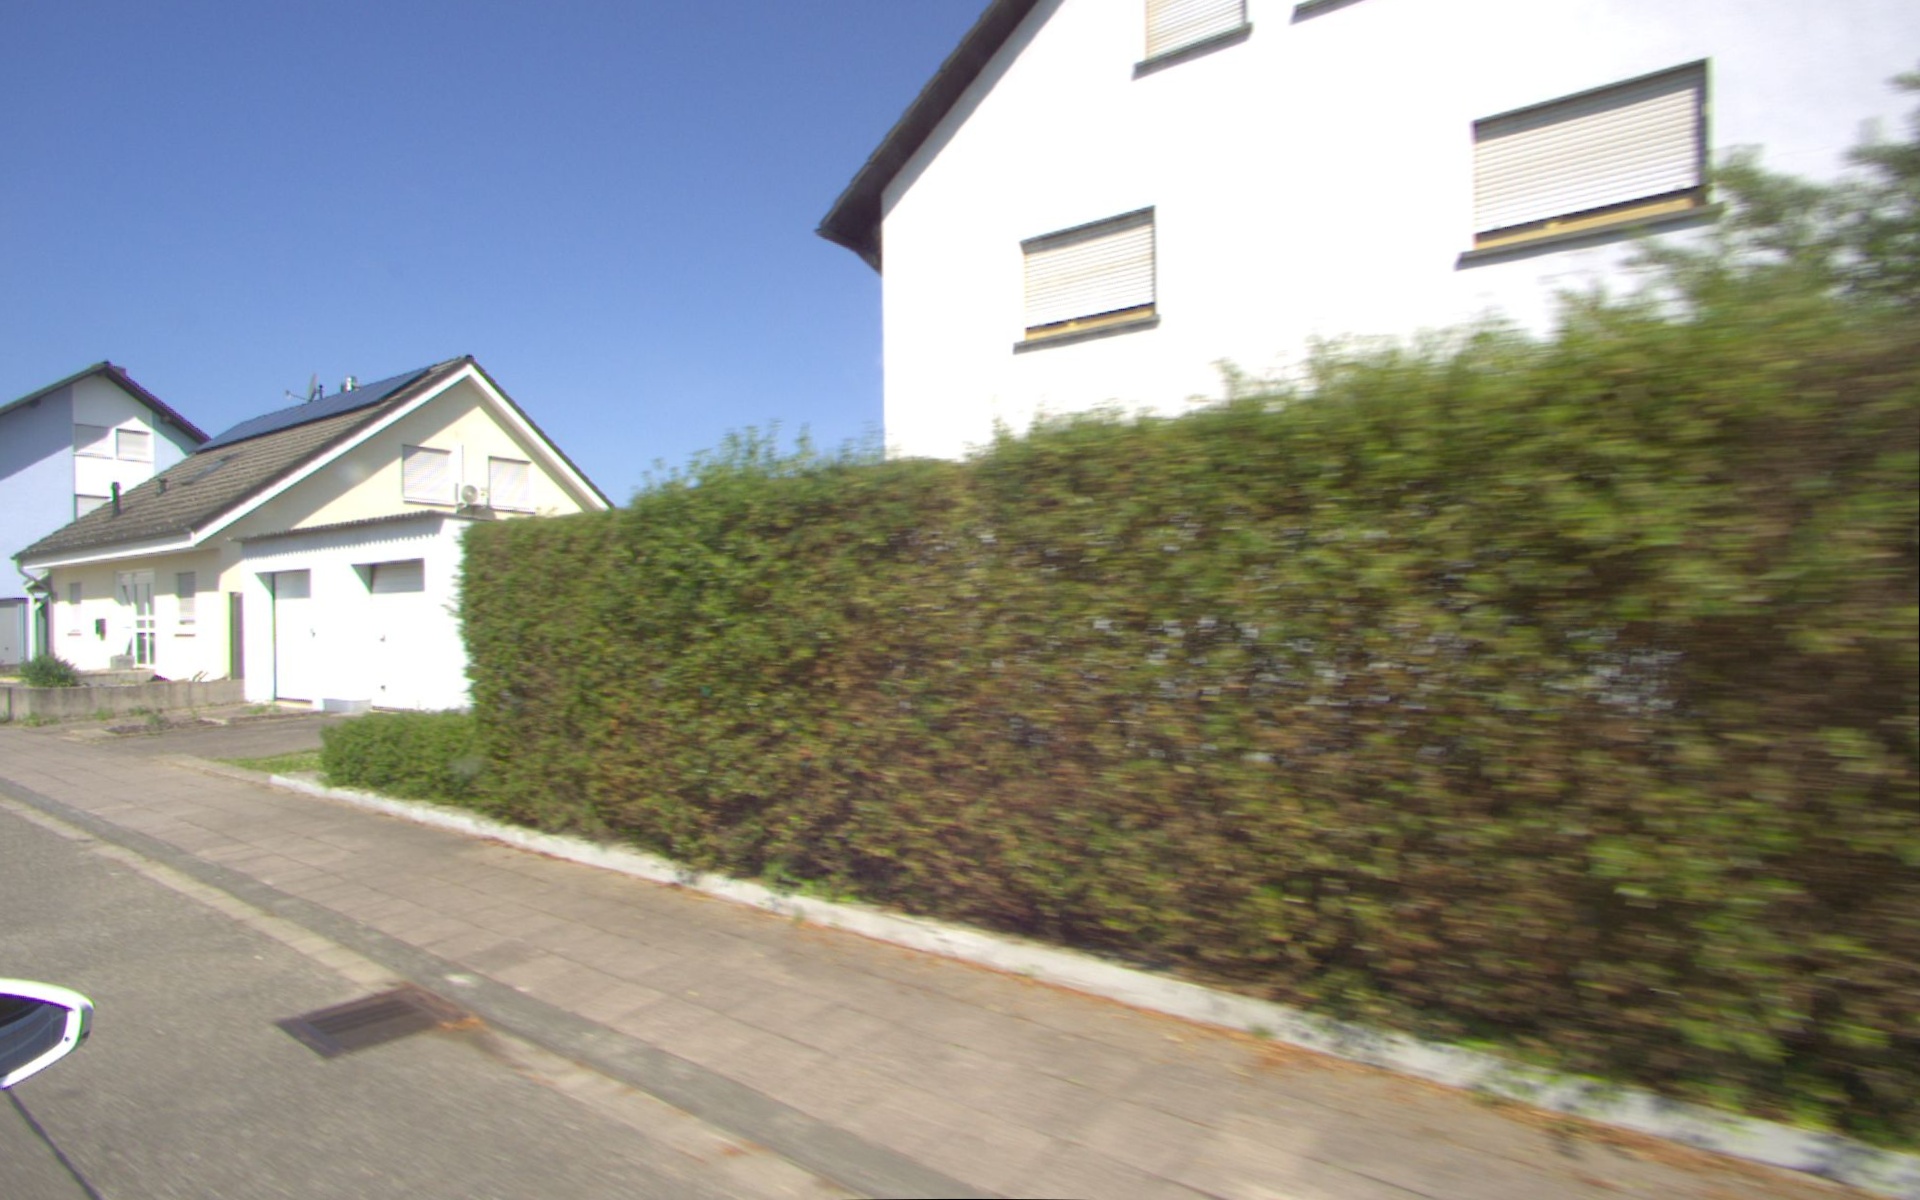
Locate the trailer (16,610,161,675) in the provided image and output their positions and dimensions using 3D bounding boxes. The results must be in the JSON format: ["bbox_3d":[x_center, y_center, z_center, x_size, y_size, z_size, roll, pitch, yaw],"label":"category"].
[{"bbox_3d":[-24.433,1.160,28.130,1.384,1.712,2.825,-1,0,36],"label":"trailer"}]

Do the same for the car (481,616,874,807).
[{"bbox_3d":[-2.578,0.850,8.874,3.479,1.376,1.490,-1,-1,35],"label":"car"}]
